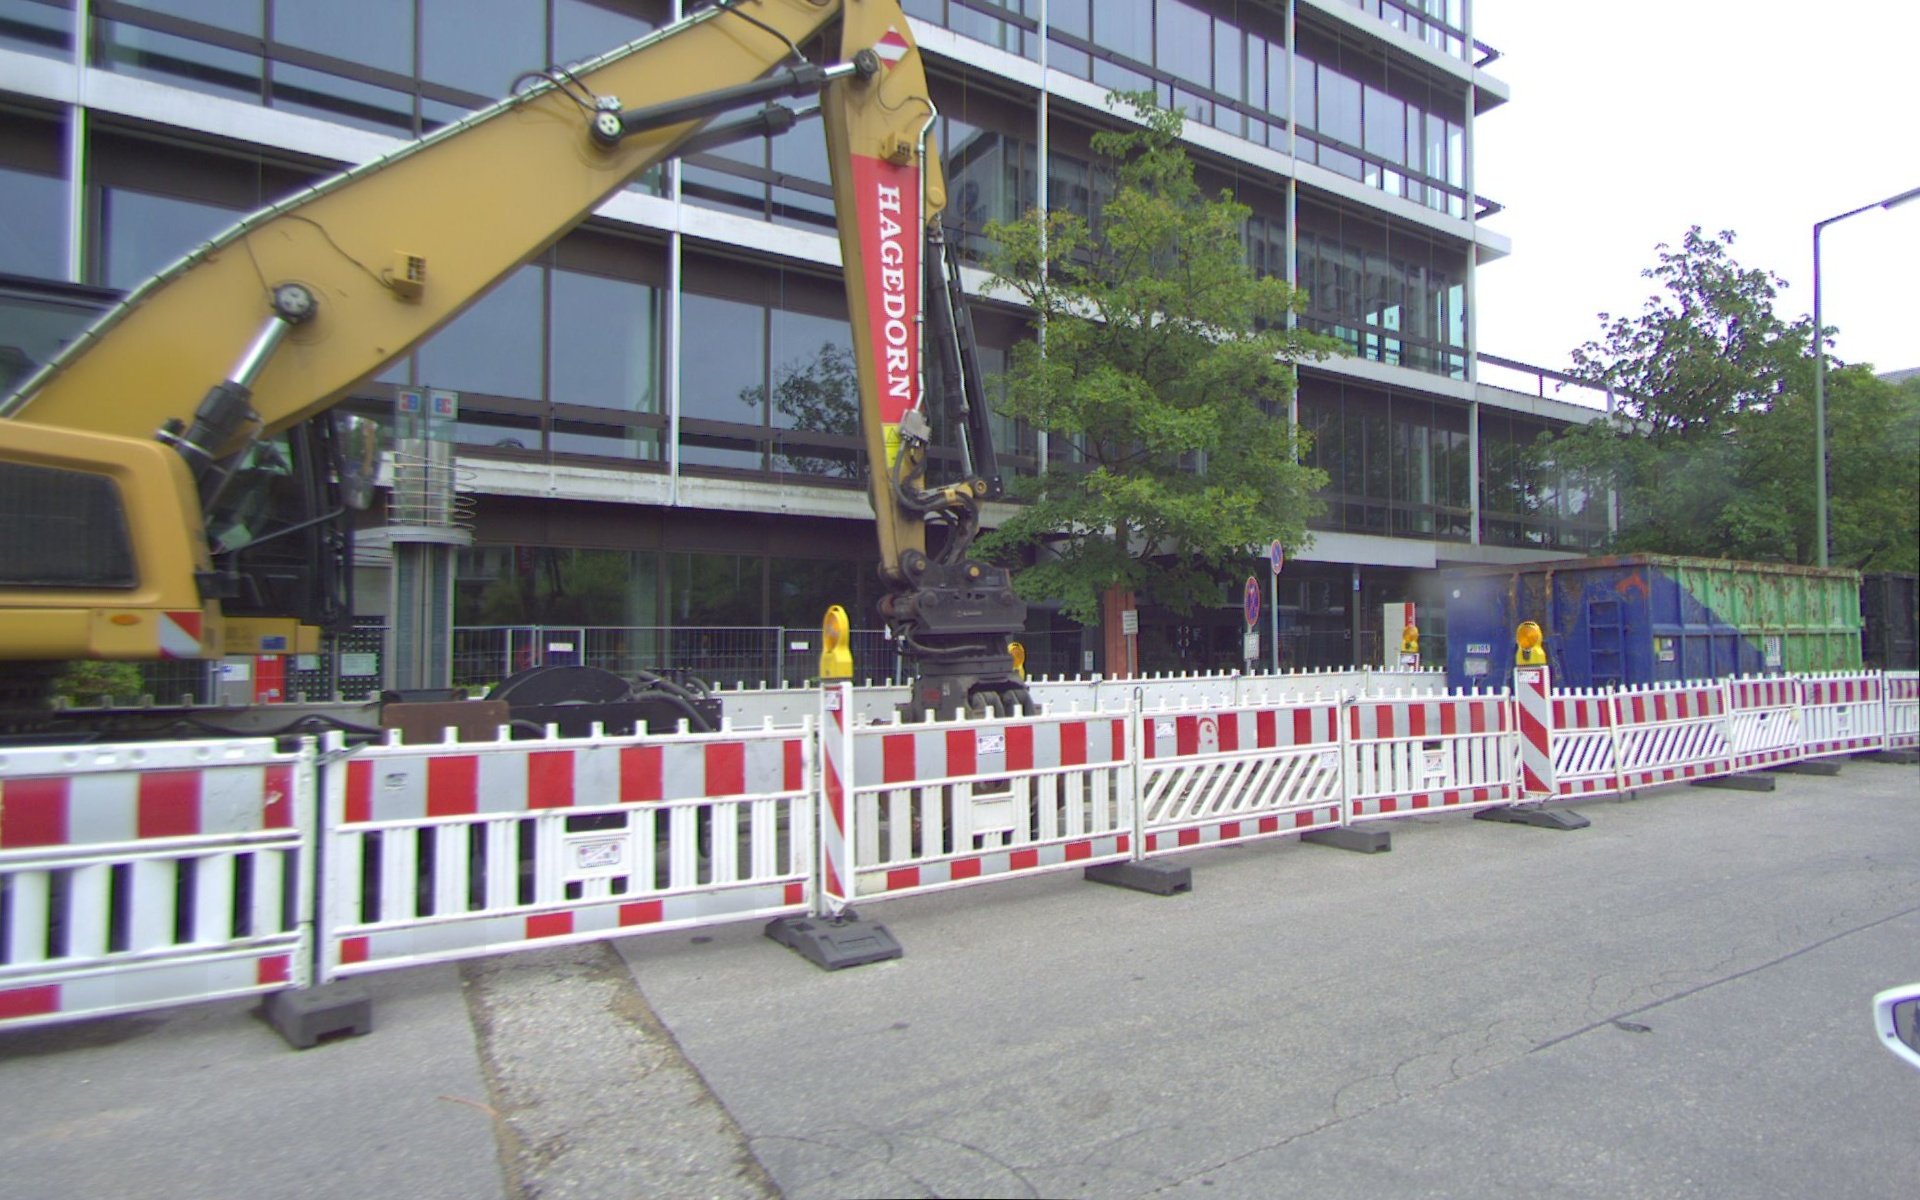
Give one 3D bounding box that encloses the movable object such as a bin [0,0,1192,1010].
[{"bbox_3d":[-3.952,-1.615,5.748,11.651,6.650,2.890,2,-3,-32],"label":"movable object such as a bin"}]
